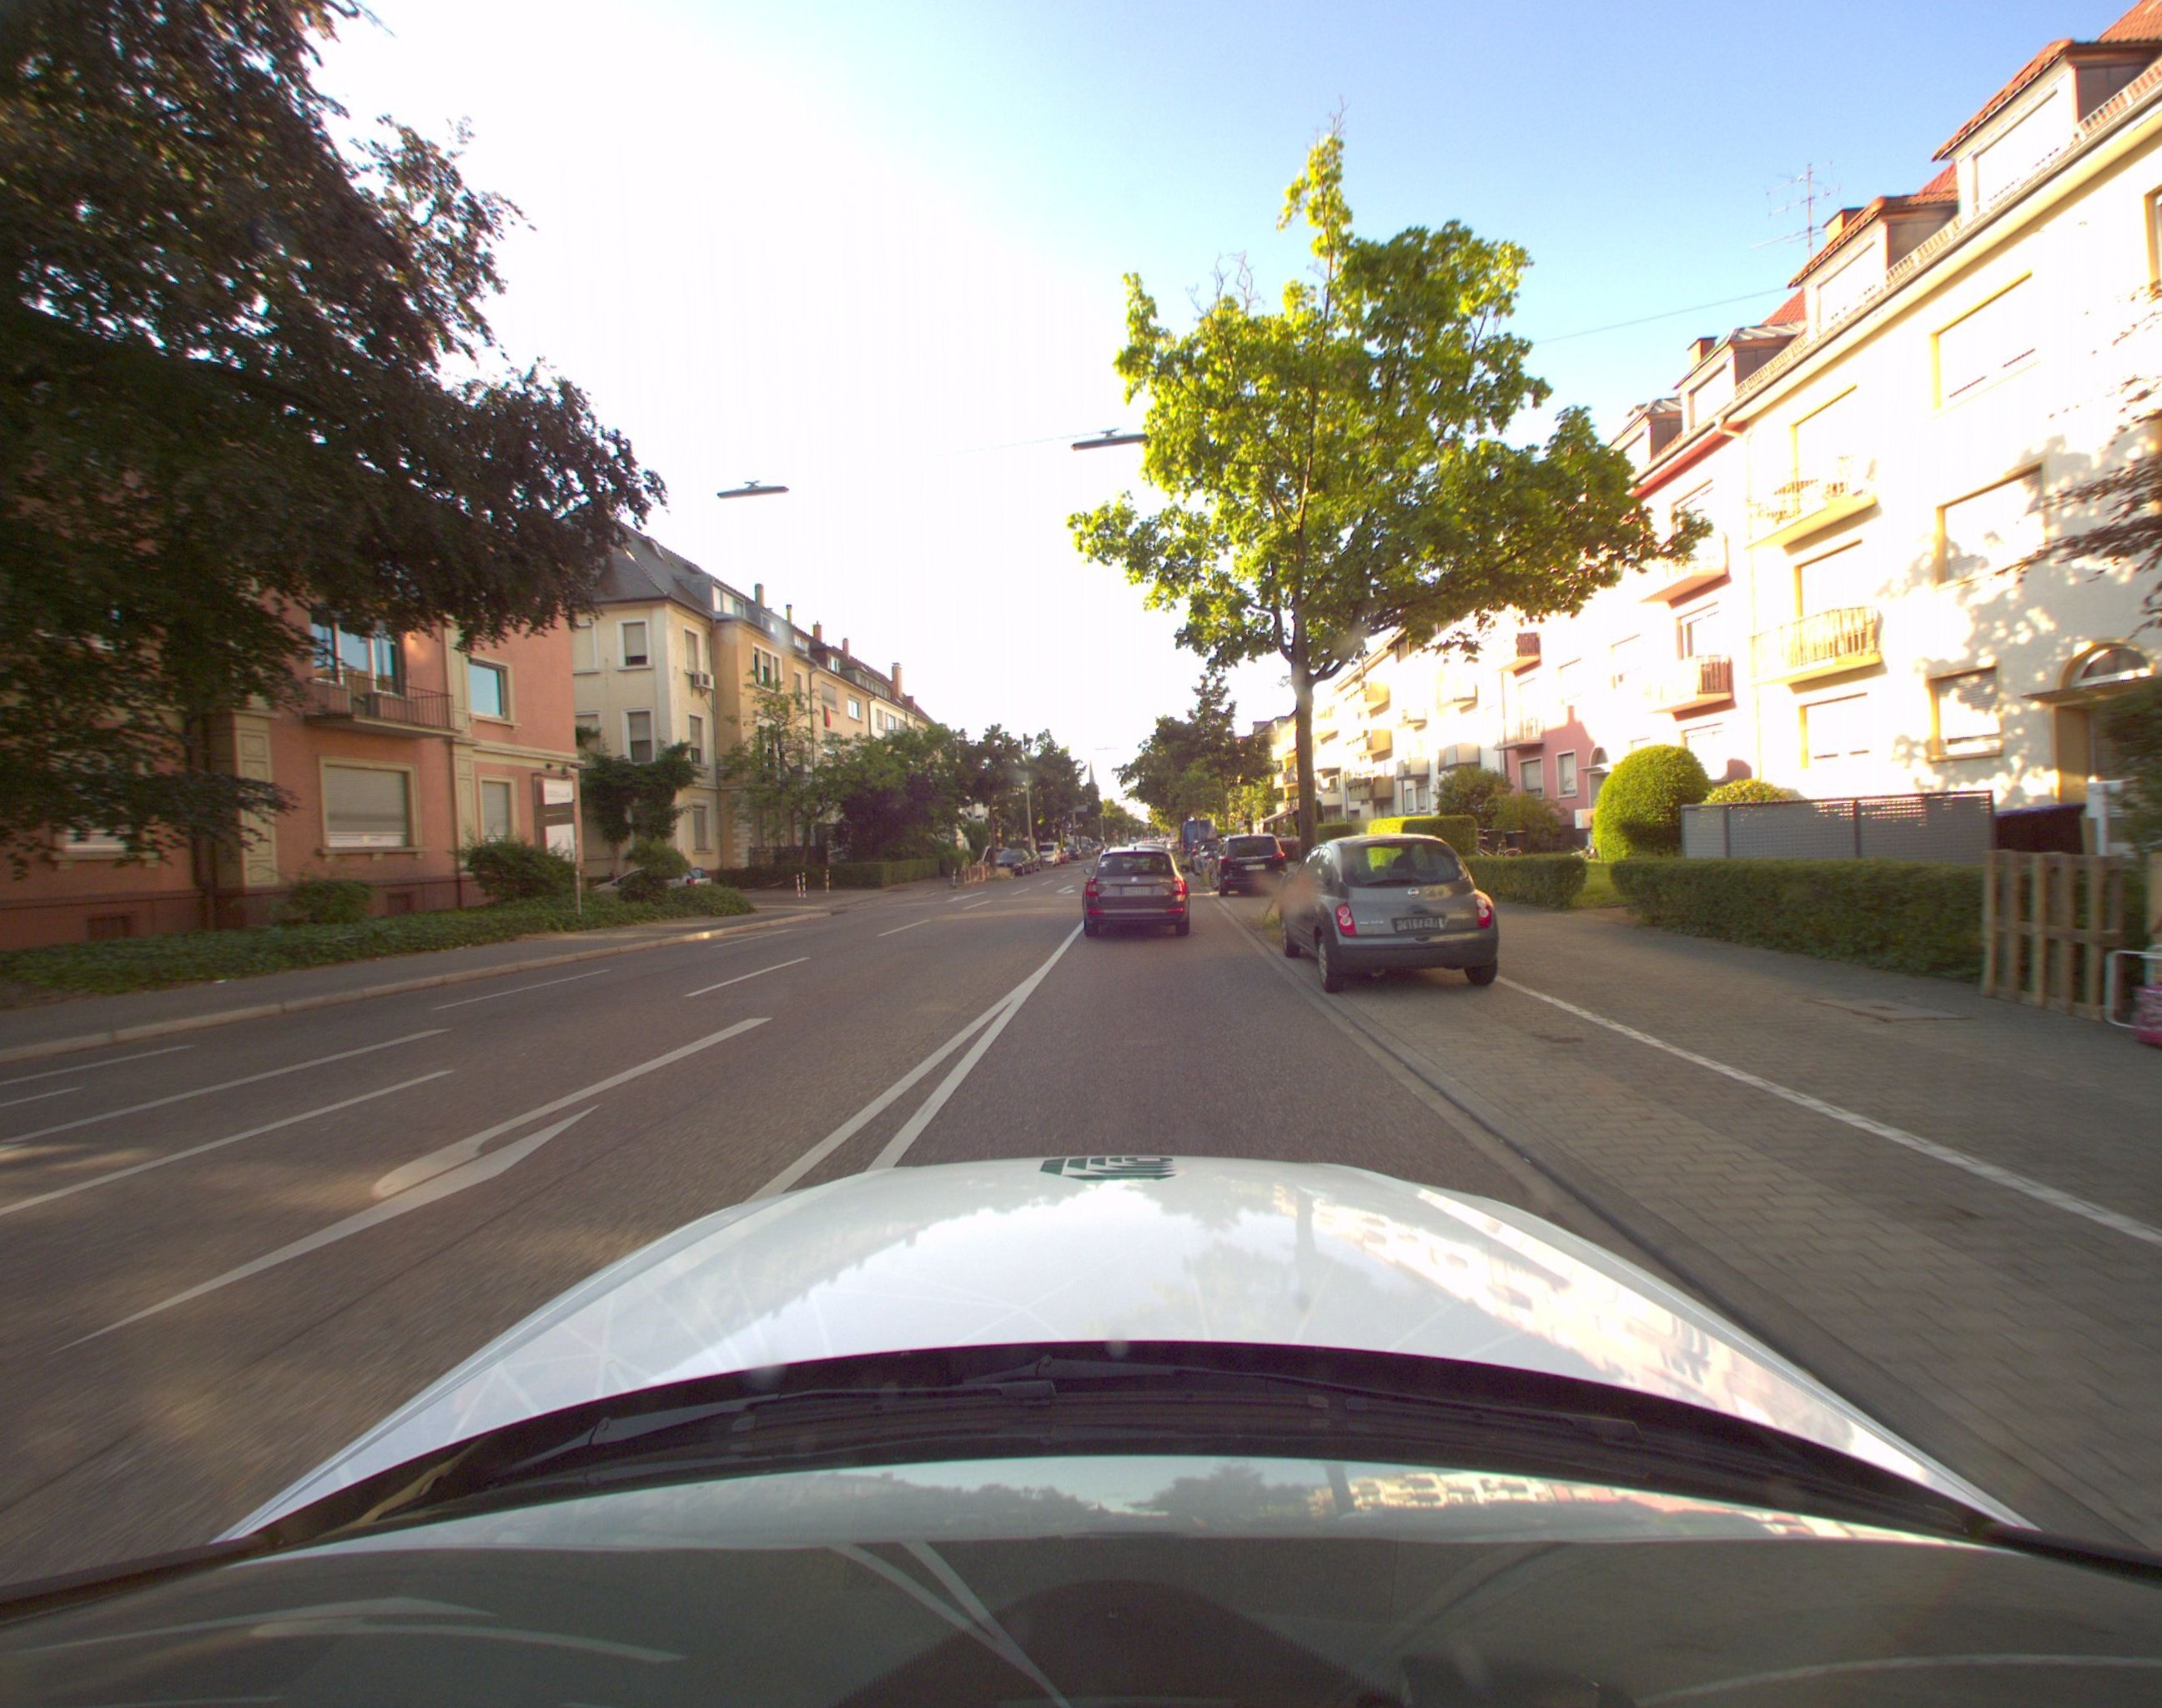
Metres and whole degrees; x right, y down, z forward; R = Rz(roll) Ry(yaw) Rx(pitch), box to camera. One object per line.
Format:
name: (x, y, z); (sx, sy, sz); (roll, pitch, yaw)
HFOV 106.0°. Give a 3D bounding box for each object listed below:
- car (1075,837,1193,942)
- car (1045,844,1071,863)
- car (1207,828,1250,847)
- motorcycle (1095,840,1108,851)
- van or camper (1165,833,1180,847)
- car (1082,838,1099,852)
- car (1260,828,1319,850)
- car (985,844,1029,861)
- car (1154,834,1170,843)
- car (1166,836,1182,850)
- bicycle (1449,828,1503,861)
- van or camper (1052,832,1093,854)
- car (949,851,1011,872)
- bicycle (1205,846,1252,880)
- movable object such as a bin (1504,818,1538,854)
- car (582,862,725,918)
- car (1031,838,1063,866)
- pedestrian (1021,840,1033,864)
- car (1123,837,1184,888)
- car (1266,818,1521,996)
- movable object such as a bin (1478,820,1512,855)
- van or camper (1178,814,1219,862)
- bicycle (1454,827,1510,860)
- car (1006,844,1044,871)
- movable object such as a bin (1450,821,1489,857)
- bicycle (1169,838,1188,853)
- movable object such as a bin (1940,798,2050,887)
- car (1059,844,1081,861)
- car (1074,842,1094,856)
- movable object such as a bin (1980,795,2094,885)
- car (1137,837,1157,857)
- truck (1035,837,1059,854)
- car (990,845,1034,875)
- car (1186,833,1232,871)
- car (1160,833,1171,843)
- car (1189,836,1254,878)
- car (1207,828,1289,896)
car: (1.029, 0.501, 14.312); (1.720, 1.493, 3.959); (-3, 1, 7)
car: (-1.967, -0.099, 69.595); (1.709, 1.420, 3.792); (-3, 1, 5)
car: (17.149, -1.949, 94.882); (4.553, 1.892, 1.900); (-4, 1, -23)
motorcycle: (3.061, -1.254, 121.161); (0.770, 1.511, 2.007); (-4, 2, -38)
van or camper: (13.363, -2.081, 119.287); (1.984, 2.013, 4.006); (-3, 1, 5)
car: (1.249, -1.215, 106.205); (1.742, 1.740, 3.596); (-3, 1, 5)
car: (15.867, -1.166, 62.153); (3.972, 1.462, 1.825); (-3, 1, 1)
car: (-7.151, -0.139, 79.115); (3.973, 1.479, 2.001); (-2, 1, 1)
car: (19.742, -3.791, 199.000); (1.858, 1.757, 4.206); (-2, 2, 37)
car: (10.884, -1.296, 95.259); (1.811, 1.413, 4.120); (-3, 1, 7)
bicycle: (11.354, -0.277, 23.428); (1.353, 0.853, 0.365); (-3, 1, 4)
van or camper: (-1.611, -2.140, 157.846); (7.608, 3.874, 2.002); (-3, 1, 3)
car: (-8.026, 0.572, 64.616); (4.708, 1.362, 1.995); (-3, 1, -8)
bicycle: (4.920, 0.290, 27.184); (1.476, 1.059, 0.410); (-3, 1, -8)
movable object such as a bin: (13.008, -0.535, 24.092); (0.608, 1.002, 0.797); (-3, 1, 4)
car: (-13.479, 1.115, 25.824); (3.485, 1.486, 1.816); (-3, 1, 1)
car: (-2.545, -0.180, 62.433); (1.761, 1.919, 4.467); (-3, 1, 5)
pedestrian: (-4.737, -0.179, 71.171); (0.764, 2.013, 0.977); (-3, 1, 4)
car: (2.381, 0.228, 27.523); (1.723, 1.493, 3.952); (-3, 1, 1)
car: (3.274, 0.443, 9.287); (1.724, 1.550, 3.652); (-3, 1, 5)
movable object such as a bin: (12.250, -0.495, 24.129); (0.608, 1.002, 0.797); (-3, 1, 4)
van or camper: (7.137, -0.947, 49.913); (2.058, 2.675, 5.999); (-3, 0, 5)
bicycle: (11.301, -0.303, 22.973); (1.363, 0.853, 0.369); (-3, 1, 6)
car: (-3.550, 0.188, 51.980); (1.742, 1.502, 3.985); (-3, 1, 5)
movable object such as a bin: (11.529, -0.457, 24.174); (0.772, 1.002, 0.797); (-3, 1, 4)
bicycle: (9.529, -0.840, 79.762); (1.657, 1.226, 0.638); (-5, 1, 17)
movable object such as a bin: (12.210, -0.161, 10.904); (0.550, 1.123, 0.830); (-3, 1, 5)
car: (-1.046, -0.191, 81.446); (1.709, 1.497, 4.254); (-3, 1, 5)
car: (0.391, -0.609, 93.037); (1.745, 1.420, 4.433); (-3, 1, 6)
movable object such as a bin: (12.779, -0.192, 10.910); (0.550, 1.123, 0.830); (-3, 1, 5)
car: (5.952, -0.641, 73.457); (1.724, 1.651, 3.547); (-3, 1, 5)
truck: (-4.553, -1.092, 108.114); (2.900, 2.093, 1.548); (-3, 1, 4)
car: (-3.908, 0.326, 47.042); (1.742, 1.502, 4.203); (-3, 1, 5)
car: (6.124, -0.116, 39.348); (1.765, 1.642, 3.761); (-3, 0, 3)
car: (16.043, -3.035, 155.019); (1.722, 1.815, 3.955); (-3, 1, 4)
car: (5.668, 0.046, 33.456); (1.913, 1.486, 4.748); (-3, 1, 2)
car: (4.581, 0.145, 22.926); (1.724, 1.651, 4.298); (-3, 1, 5)
